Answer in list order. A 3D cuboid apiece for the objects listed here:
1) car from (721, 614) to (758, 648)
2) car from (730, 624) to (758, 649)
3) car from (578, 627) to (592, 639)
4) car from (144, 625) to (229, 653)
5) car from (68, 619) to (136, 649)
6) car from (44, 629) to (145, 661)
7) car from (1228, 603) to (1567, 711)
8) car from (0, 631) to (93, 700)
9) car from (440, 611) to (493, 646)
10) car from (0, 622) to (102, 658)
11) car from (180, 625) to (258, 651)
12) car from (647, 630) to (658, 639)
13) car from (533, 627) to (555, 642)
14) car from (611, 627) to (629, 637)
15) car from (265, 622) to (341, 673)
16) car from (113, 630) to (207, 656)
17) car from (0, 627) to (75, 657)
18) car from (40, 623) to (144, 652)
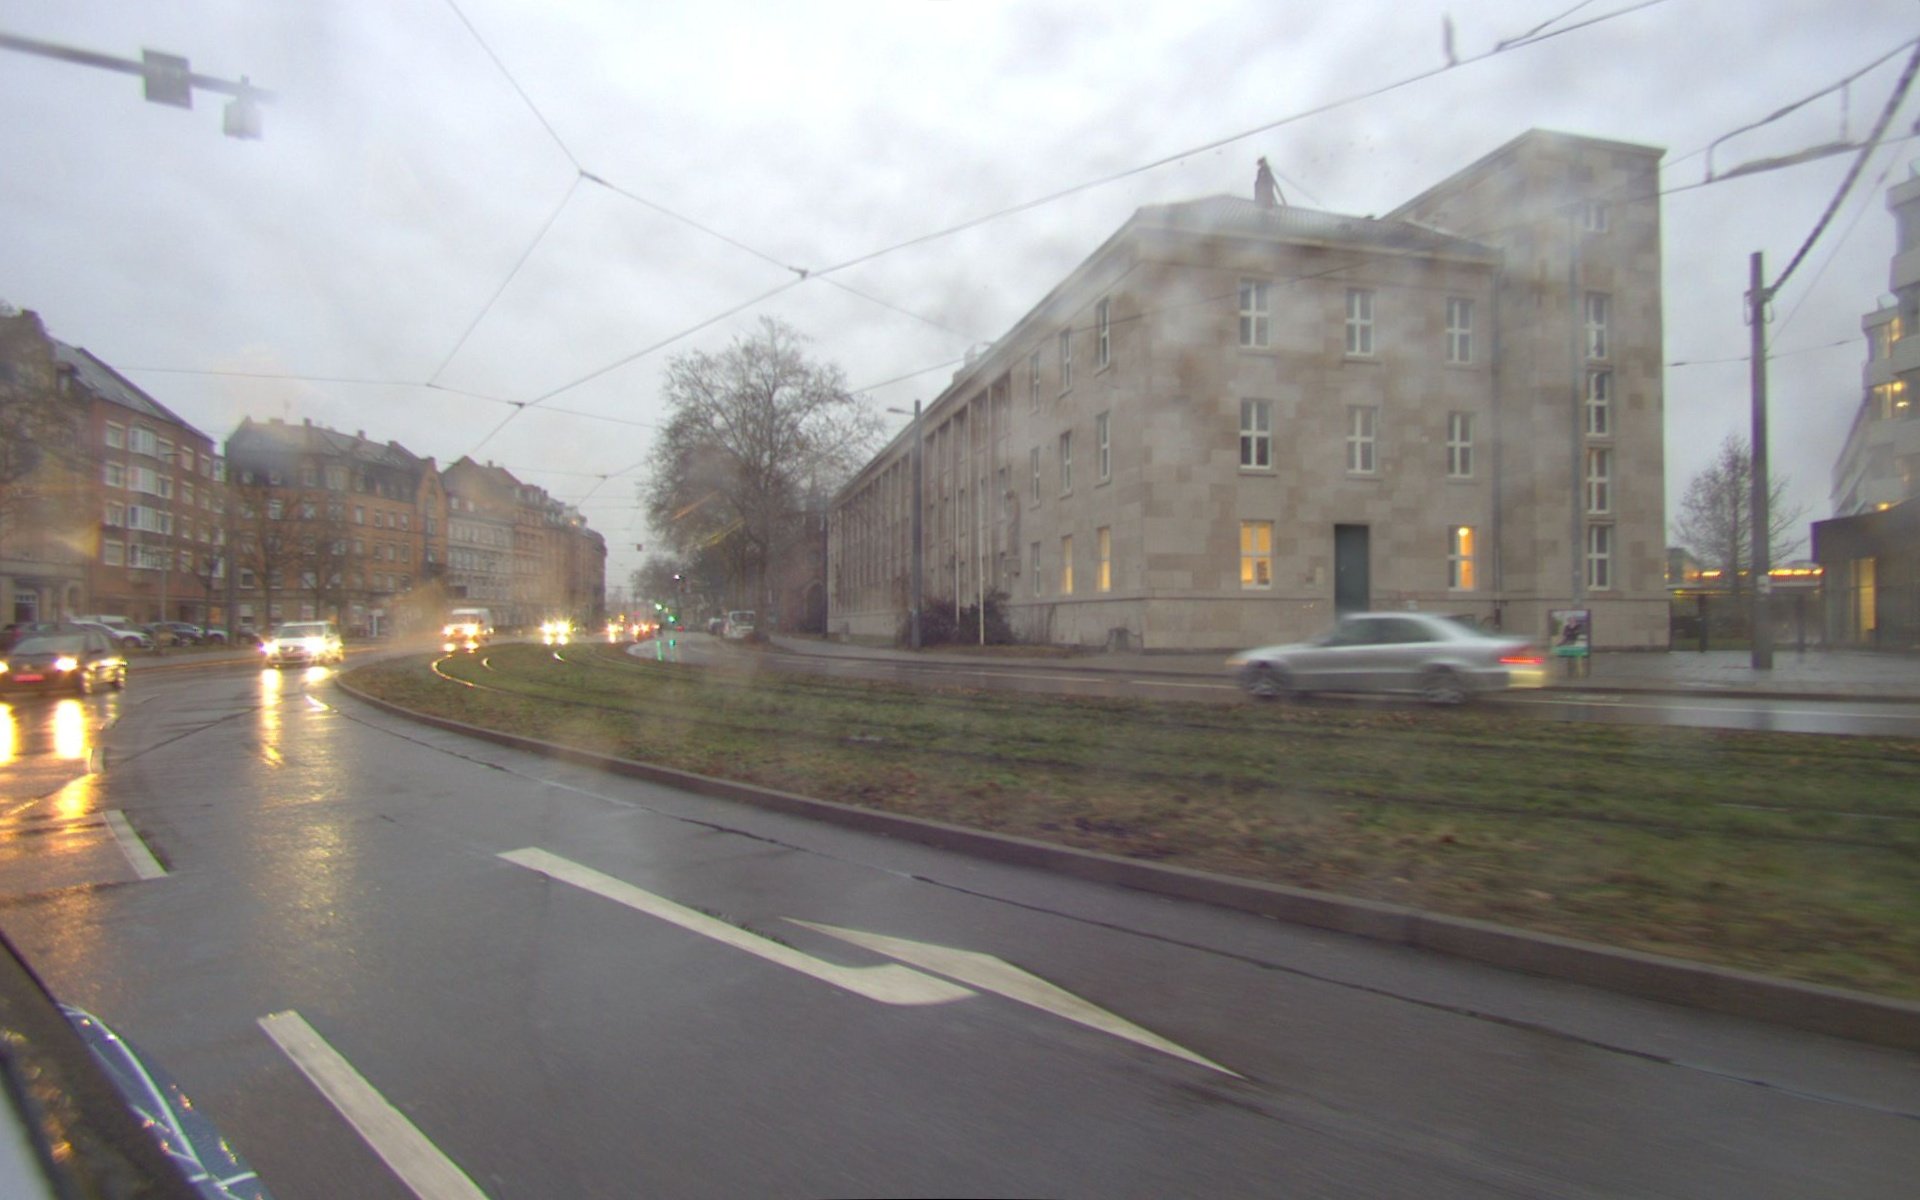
[{"bbox_3d":[-14.331,1.976,65.589,1.966,2.029,4.522,-2,0,-16],"label":"car"},{"bbox_3d":[-13.106,2.175,61.243,1.535,1.439,2.963,0,0,-14],"label":"car"},{"bbox_3d":[-51.414,4.513,138.804,1.694,1.630,3.950,0,-2,-18],"label":"car"},{"bbox_3d":[-43.445,2.177,56.894,3.706,1.364,1.604,-2,0,-39],"label":"car"},{"bbox_3d":[-53.139,2.067,62.755,1.648,1.716,3.473,-2,0,-11],"label":"car"},{"bbox_3d":[-42.597,2.199,49.900,3.707,1.341,1.604,-2,0,-39],"label":"car"},{"bbox_3d":[6.901,0.854,16.294,4.653,1.446,1.802,-2,0,42],"label":"car"},{"bbox_3d":[-20.830,1.431,22.874,3.134,1.437,1.568,-2,-2,44],"label":"car"},{"bbox_3d":[-35.580,2.013,73.118,2.096,2.398,5.652,-2,0,-12],"label":"car"},{"bbox_3d":[-41.012,1.766,45.328,3.817,1.416,1.696,-2,0,-44],"label":"car"},{"bbox_3d":[-44.490,2.278,60.806,3.706,1.364,1.604,-2,0,-39],"label":"car"},{"bbox_3d":[-69.137,7.740,227.618,1.923,1.829,4.007,0,-1,-8],"label":"car"},{"bbox_3d":[-49.300,4.085,119.938,1.624,1.763,3.560,0,-2,-8],"label":"car"},{"bbox_3d":[-49.844,4.672,148.498,1.867,1.424,3.954,0,-2,-8],"label":"car"},{"bbox_3d":[-23.990,1.684,37.064,1.646,1.672,4.161,-2,0,-24],"label":"car"},{"bbox_3d":[-42.038,2.242,53.246,1.602,1.288,3.711,-2,-2,45],"label":"car"},{"bbox_3d":[-51.942,2.331,56.804,1.666,1.554,4.010,-2,0,-13],"label":"car"},{"bbox_3d":[-41.541,1.773,48.563,3.706,1.342,1.605,1,-2,-39],"label":"car"}]
